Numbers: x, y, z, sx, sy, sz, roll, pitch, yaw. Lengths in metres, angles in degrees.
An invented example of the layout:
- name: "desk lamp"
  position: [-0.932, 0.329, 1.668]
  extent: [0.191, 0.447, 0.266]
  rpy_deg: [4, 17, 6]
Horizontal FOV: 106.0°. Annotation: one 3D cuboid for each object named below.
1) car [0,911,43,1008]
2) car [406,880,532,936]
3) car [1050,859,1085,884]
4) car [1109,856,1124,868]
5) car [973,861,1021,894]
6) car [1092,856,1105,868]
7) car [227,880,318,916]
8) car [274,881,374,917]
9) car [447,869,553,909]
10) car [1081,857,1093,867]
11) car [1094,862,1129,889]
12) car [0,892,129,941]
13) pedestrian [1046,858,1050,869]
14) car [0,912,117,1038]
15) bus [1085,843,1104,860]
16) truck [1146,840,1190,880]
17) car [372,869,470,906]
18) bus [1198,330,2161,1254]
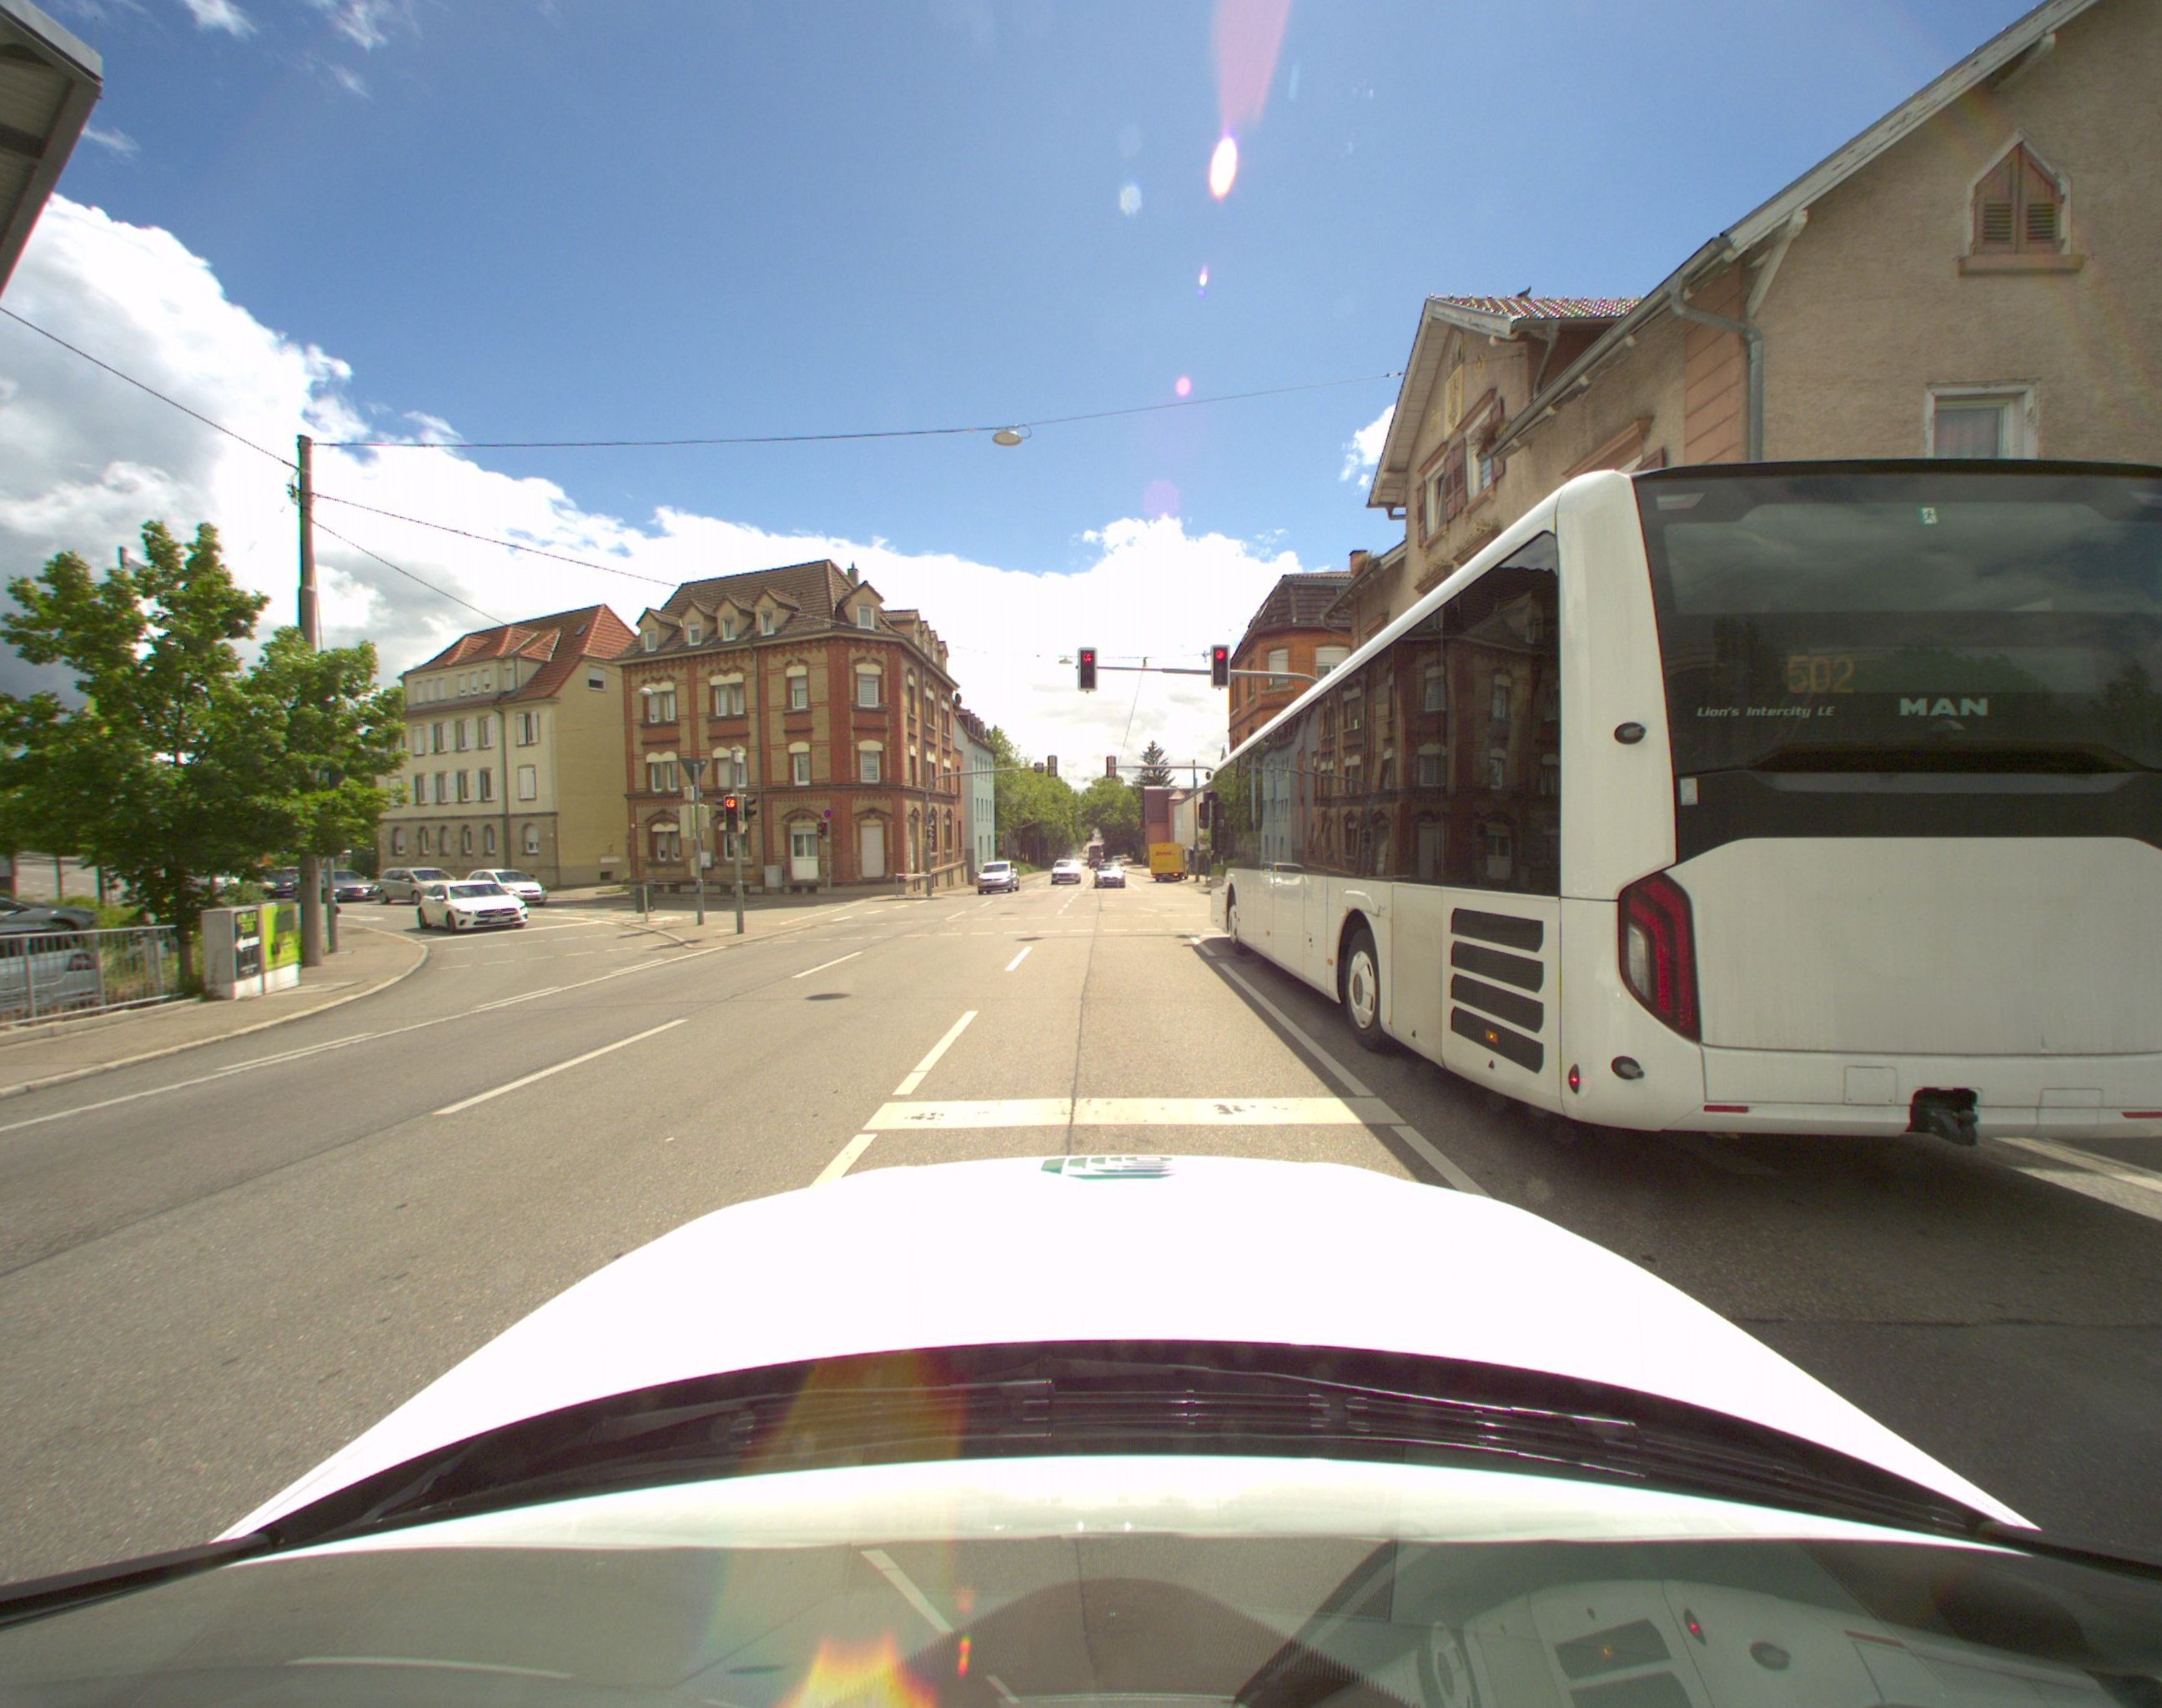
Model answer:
- name: "car"
  position: [-19.713, 1.833, 14.150]
  extent: [3.744, 1.523, 1.526]
  rpy_deg: [-1, 0, 30]
- name: "car"
  position: [-18.245, 1.542, 24.213]
  extent: [4.334, 1.447, 1.875]
  rpy_deg: [-2, 0, 37]
- name: "car"
  position: [-0.907, 1.230, 57.807]
  extent: [2.199, 1.613, 4.549]
  rpy_deg: [-2, 0, 2]
- name: "car"
  position: [5.661, 1.233, 129.580]
  extent: [2.086, 1.830, 4.140]
  rpy_deg: [-1, 0, -1]
- name: "car"
  position: [-4.411, 1.211, 43.567]
  extent: [1.928, 1.563, 4.390]
  rpy_deg: [-2, 0, 2]
- name: "car"
  position: [2.547, 1.144, 120.310]
  extent: [1.812, 1.784, 4.002]
  rpy_deg: [-2, 0, 2]
- name: "car"
  position: [-40.005, 2.131, 40.289]
  extent: [4.291, 1.586, 2.012]
  rpy_deg: [-1, 0, 29]
- name: "car"
  position: [-35.449, 2.078, 38.141]
  extent: [3.951, 1.519, 2.011]
  rpy_deg: [-1, 0, 24]
- name: "car"
  position: [-23.597, 1.392, 33.060]
  extent: [3.951, 1.497, 1.711]
  rpy_deg: [-1, 0, 24]
- name: "car"
  position: [1.147, 1.429, 148.634]
  extent: [2.086, 1.830, 4.140]
  rpy_deg: [-1, 0, -1]
- name: "car"
  position: [1.724, 1.201, 46.747]
  extent: [1.858, 1.367, 4.549]
  rpy_deg: [-2, 0, 2]
- name: "car"
  position: [-29.253, 1.730, 22.214]
  extent: [1.795, 1.186, 4.025]
  rpy_deg: [-1, 0, 31]
- name: "pedestrian"
  position: [-5.559, 1.635, 136.992]
  extent: [0.604, 1.758, 0.653]
  rpy_deg: [-2, 0, 0]
- name: "car"
  position: [-16.118, 1.741, 12.180]
  extent: [3.638, 1.575, 1.766]
  rpy_deg: [-1, -2, 34]
- name: "bus"
  position: [2.835, -0.494, 175.760]
  extent: [3.294, 3.631, 11.229]
  rpy_deg: [-2, 0, -4]
- name: "truck"
  position: [6.801, 0.481, 62.940]
  extent: [2.524, 2.913, 6.595]
  rpy_deg: [-1, -1, 13]
- name: "car"
  position: [-29.205, 1.469, 36.048]
  extent: [3.951, 1.519, 1.757]
  rpy_deg: [-1, 0, 24]
- name: "bus"
  position: [3.506, -0.193, 9.347]
  extent: [2.893, 3.510, 12.492]
  rpy_deg: [0, 0, 2]
